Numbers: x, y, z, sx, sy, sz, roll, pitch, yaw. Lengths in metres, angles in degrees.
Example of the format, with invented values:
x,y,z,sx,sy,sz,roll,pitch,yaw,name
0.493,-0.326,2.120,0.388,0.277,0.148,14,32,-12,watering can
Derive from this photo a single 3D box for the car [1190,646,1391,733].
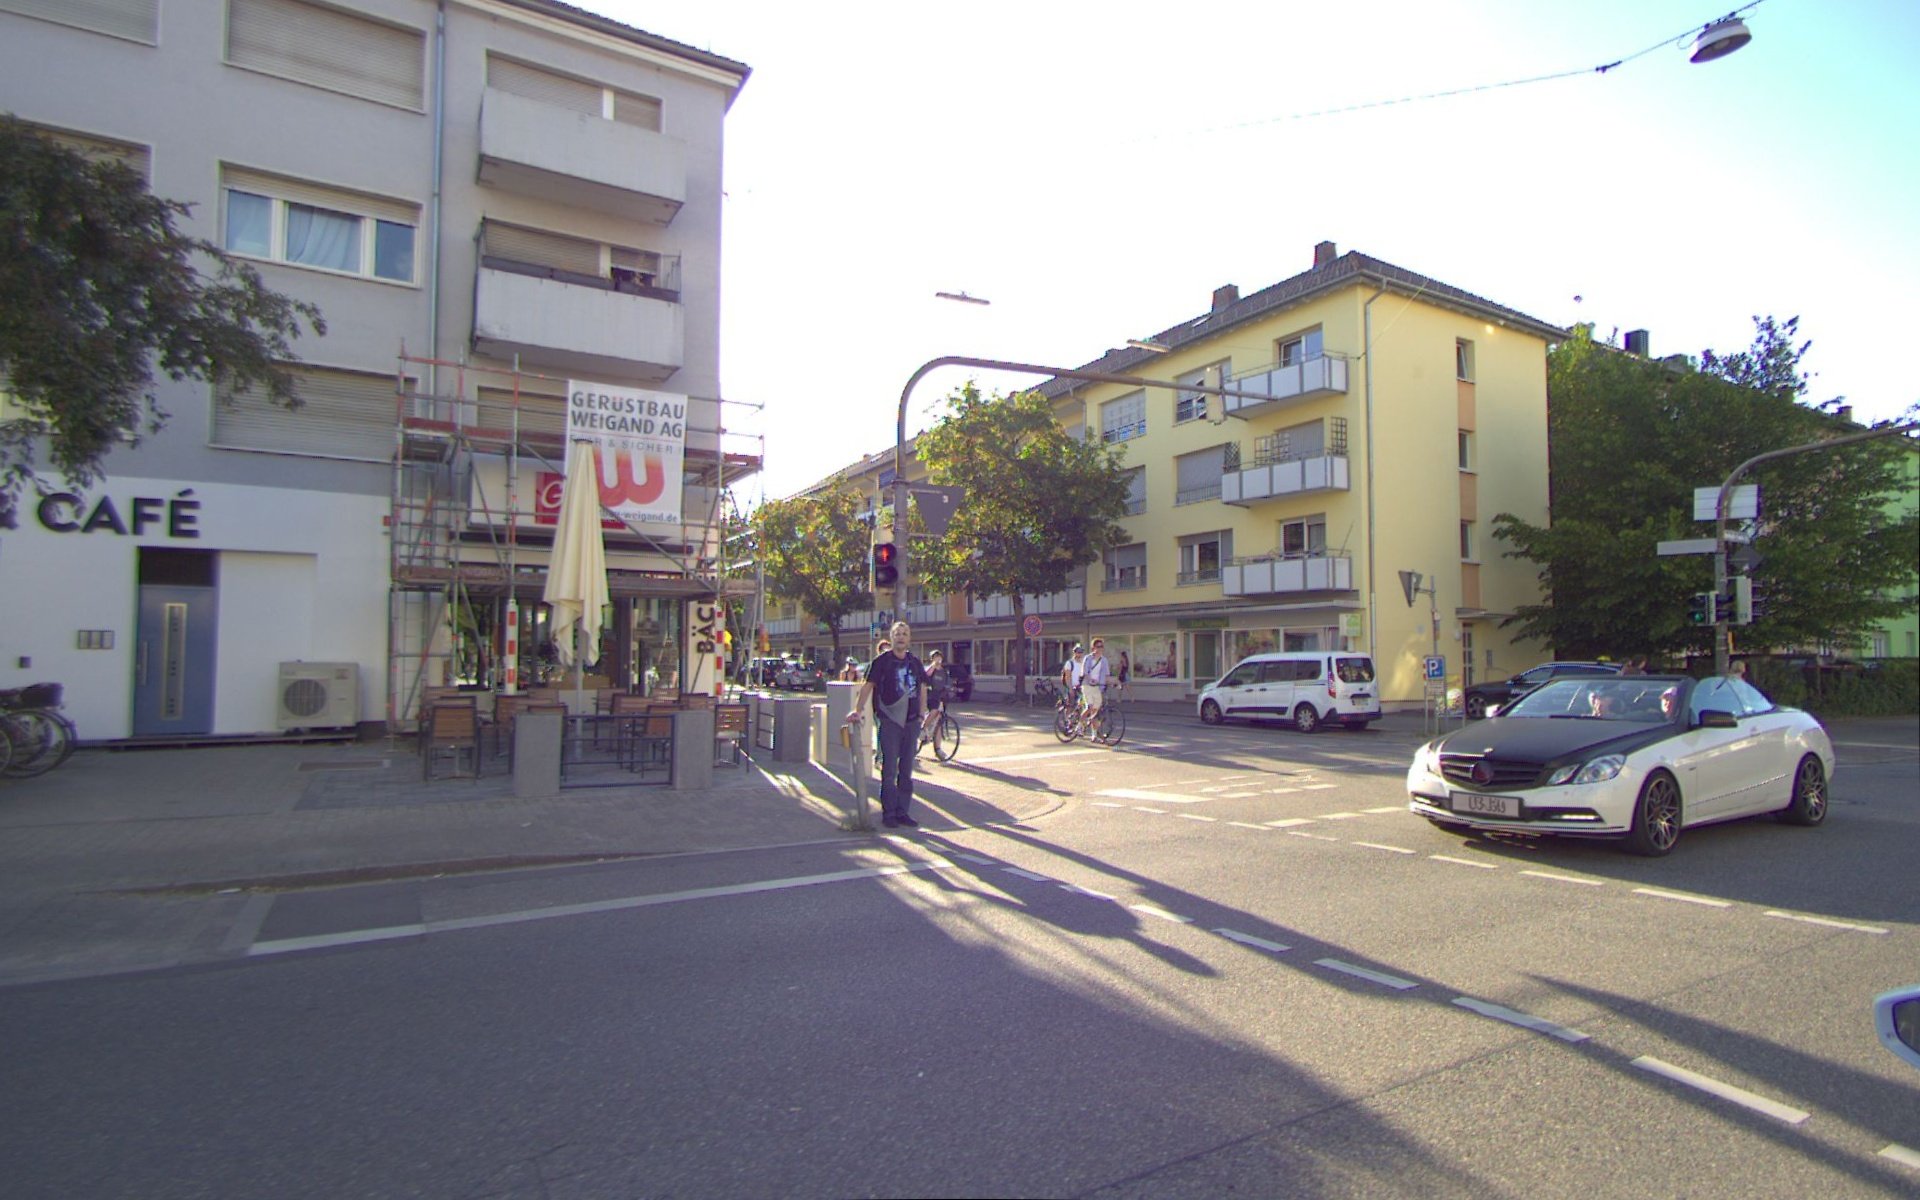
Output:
x,y,z,sx,sy,sz,roll,pitch,yaw,name
7.773,2.068,24.055,1.886,1.872,4.452,2,-4,-30,car

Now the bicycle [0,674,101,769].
x,y,z,sx,sy,sz,roll,pitch,yaw,name
-10.604,1.345,11.193,1.458,1.028,0.436,2,-4,-28,bicycle

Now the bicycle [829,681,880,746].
x,y,z,sx,sy,sz,roll,pitch,yaw,name
-1.985,2.076,18.620,0.715,1.103,2.269,3,-5,-11,bicycle

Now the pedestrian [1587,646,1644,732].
x,y,z,sx,sy,sz,roll,pitch,yaw,name
13.362,1.801,20.491,0.735,1.651,0.609,3,-1,7,pedestrian

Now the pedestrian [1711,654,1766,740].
x,y,z,sx,sy,sz,roll,pitch,yaw,name
15.171,1.881,19.578,0.742,1.615,0.603,3,-1,-33,pedestrian

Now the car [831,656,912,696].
x,y,z,sx,sy,sz,roll,pitch,yaw,name
-3.891,3.264,43.533,1.822,1.635,4.376,2,-4,-30,car

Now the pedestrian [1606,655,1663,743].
x,y,z,sx,sy,sz,roll,pitch,yaw,name
13.220,1.920,19.701,0.603,1.679,0.742,3,-4,-37,pedestrian

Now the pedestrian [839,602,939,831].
x,y,z,sx,sy,sz,roll,pitch,yaw,name
-0.668,1.064,9.450,0.730,2.040,0.635,2,-3,-29,pedestrian

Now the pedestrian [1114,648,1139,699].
x,y,z,sx,sy,sz,roll,pitch,yaw,name
5.804,2.561,35.034,0.640,1.742,0.573,2,-4,-32,pedestrian

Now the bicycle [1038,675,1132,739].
x,y,z,sx,sy,sz,roll,pitch,yaw,name
2.480,2.115,20.169,0.721,1.172,1.980,1,-3,-36,bicycle

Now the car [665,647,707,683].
x,y,z,sx,sy,sz,roll,pitch,yaw,name
-18.665,4.429,68.292,1.841,2.389,3.970,2,-4,-29,car

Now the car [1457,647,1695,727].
x,y,z,sx,sy,sz,roll,pitch,yaw,name
14.617,1.999,24.119,1.823,1.635,4.565,2,-2,-32,car

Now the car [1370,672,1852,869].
x,y,z,sx,sy,sz,roll,pitch,yaw,name
5.803,1.305,8.826,4.392,1.337,1.832,2,-5,-32,car

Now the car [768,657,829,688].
x,y,z,sx,sy,sz,roll,pitch,yaw,name
-8.328,3.691,51.426,1.841,1.483,3.970,2,-4,-29,car

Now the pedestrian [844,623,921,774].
x,y,z,sx,sy,sz,roll,pitch,yaw,name
-1.095,1.368,14.203,0.804,2.040,0.641,3,-1,-29,pedestrian

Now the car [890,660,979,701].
x,y,z,sx,sy,sz,roll,pitch,yaw,name
-1.046,3.077,38.904,1.841,1.483,3.970,2,-4,-29,car

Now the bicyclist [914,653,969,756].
x,y,z,sx,sy,sz,roll,pitch,yaw,name
-0.316,1.730,16.885,0.738,1.674,0.670,0,-3,-20,bicyclist

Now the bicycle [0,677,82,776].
x,y,z,sx,sy,sz,roll,pitch,yaw,name
-10.336,1.331,10.637,1.458,1.028,0.436,2,-4,-28,bicycle

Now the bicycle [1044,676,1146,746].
x,y,z,sx,sy,sz,roll,pitch,yaw,name
2.484,2.039,18.771,0.721,1.181,1.980,1,-3,-36,bicycle

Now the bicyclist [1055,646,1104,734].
x,y,z,sx,sy,sz,roll,pitch,yaw,name
2.420,1.801,20.347,0.743,1.744,0.602,1,-3,-36,bicyclist

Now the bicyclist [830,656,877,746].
x,y,z,sx,sy,sz,roll,pitch,yaw,name
-1.986,1.871,18.685,0.737,1.614,0.688,3,-5,-11,bicyclist

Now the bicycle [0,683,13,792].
x,y,z,sx,sy,sz,roll,pitch,yaw,name
-9.779,1.288,9.228,1.458,1.028,0.436,2,-4,-28,bicycle

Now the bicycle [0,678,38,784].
x,y,z,sx,sy,sz,roll,pitch,yaw,name
-10.039,1.283,9.775,1.458,1.028,0.436,2,-4,-28,bicycle

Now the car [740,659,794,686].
x,y,z,sx,sy,sz,roll,pitch,yaw,name
-10.959,4.080,56.844,1.841,1.483,3.970,2,-4,-29,car

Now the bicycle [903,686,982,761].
x,y,z,sx,sy,sz,roll,pitch,yaw,name
-0.326,2.033,16.899,0.717,1.103,1.991,0,-3,-20,bicycle
